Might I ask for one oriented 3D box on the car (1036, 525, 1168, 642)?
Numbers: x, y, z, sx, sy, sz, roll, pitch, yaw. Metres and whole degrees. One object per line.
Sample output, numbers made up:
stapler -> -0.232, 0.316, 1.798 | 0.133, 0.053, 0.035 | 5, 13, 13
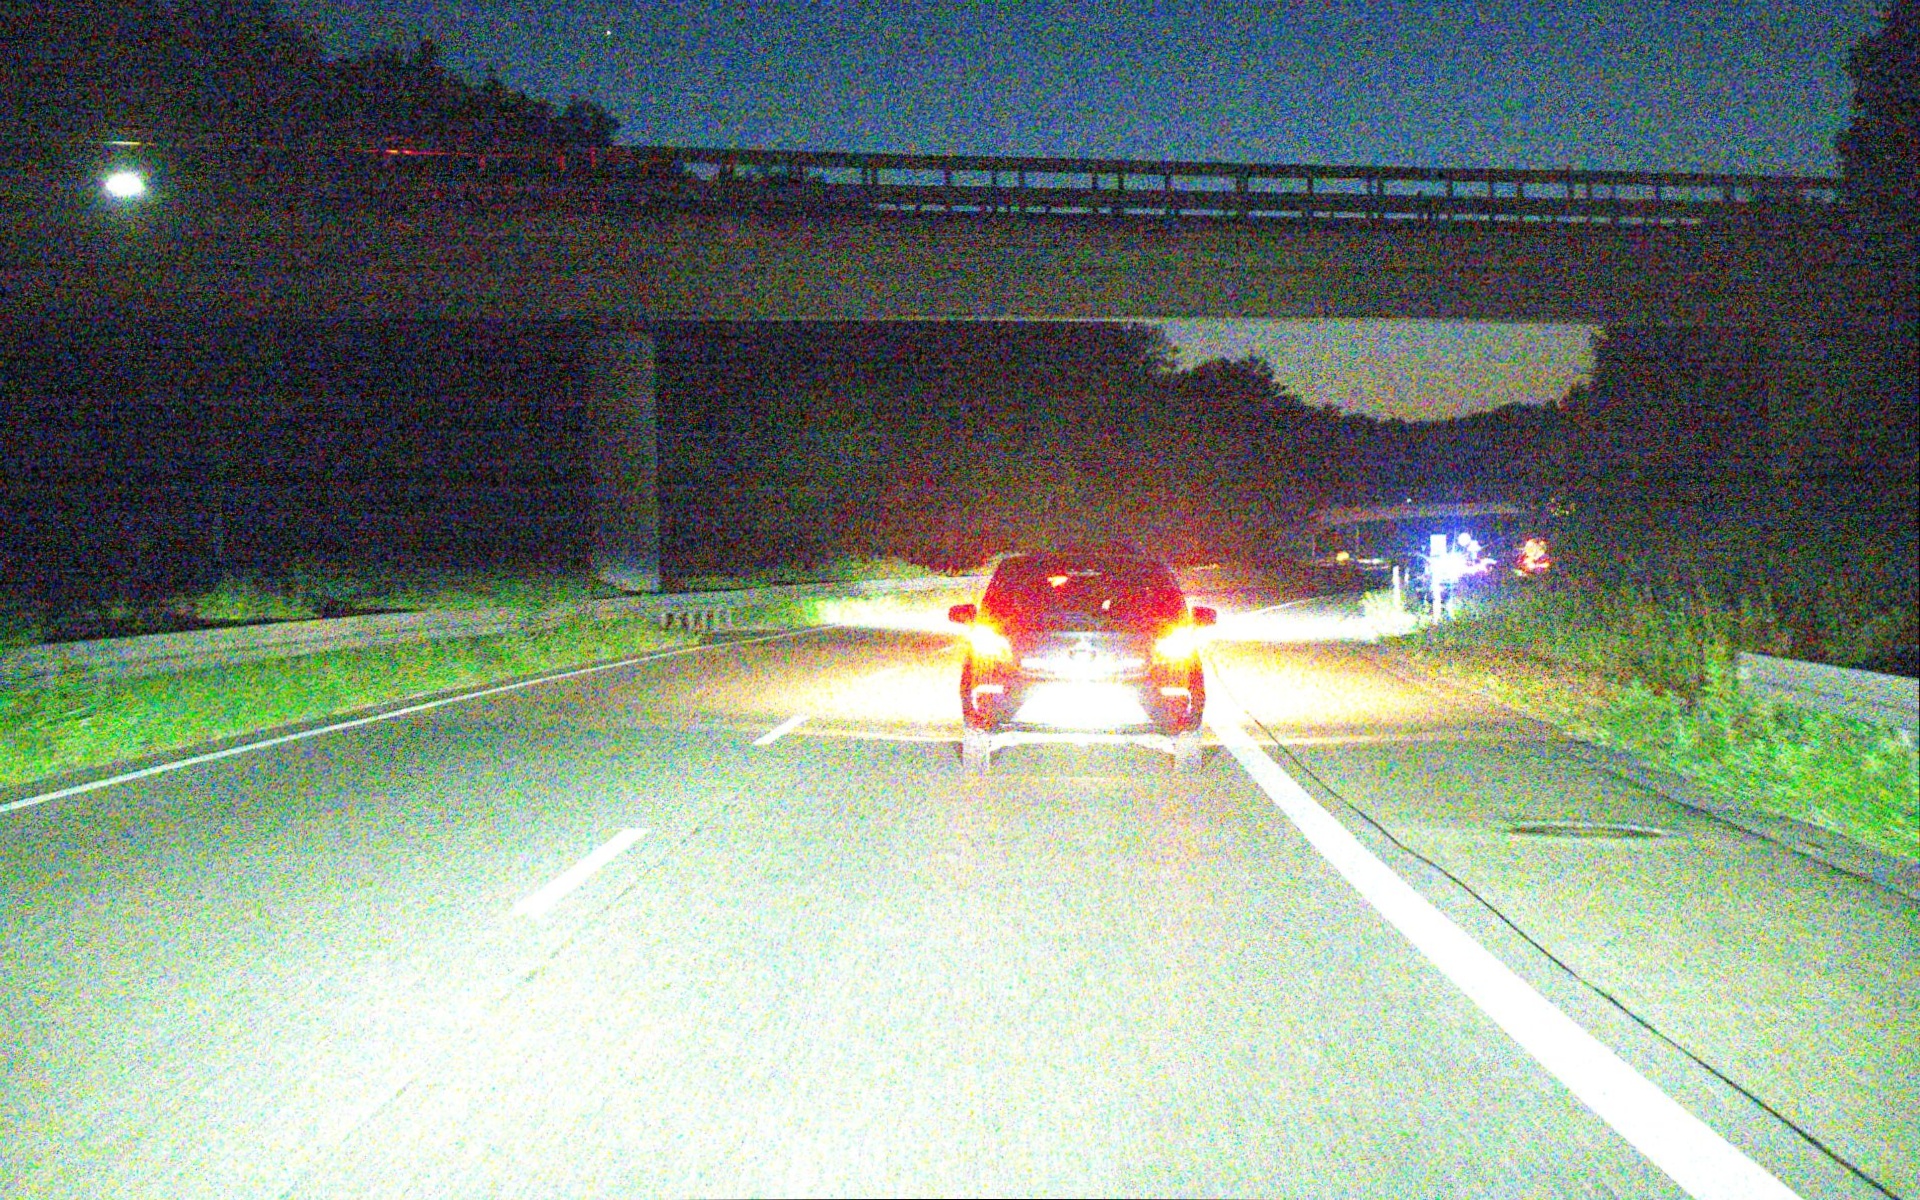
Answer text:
car -> 2.155, -0.286, 51.836 | 1.906, 1.692, 4.000 | 0, 1, 3

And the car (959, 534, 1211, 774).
car -> 0.874, 0.312, 24.192 | 1.588, 1.503, 4.000 | 1, 1, 2
